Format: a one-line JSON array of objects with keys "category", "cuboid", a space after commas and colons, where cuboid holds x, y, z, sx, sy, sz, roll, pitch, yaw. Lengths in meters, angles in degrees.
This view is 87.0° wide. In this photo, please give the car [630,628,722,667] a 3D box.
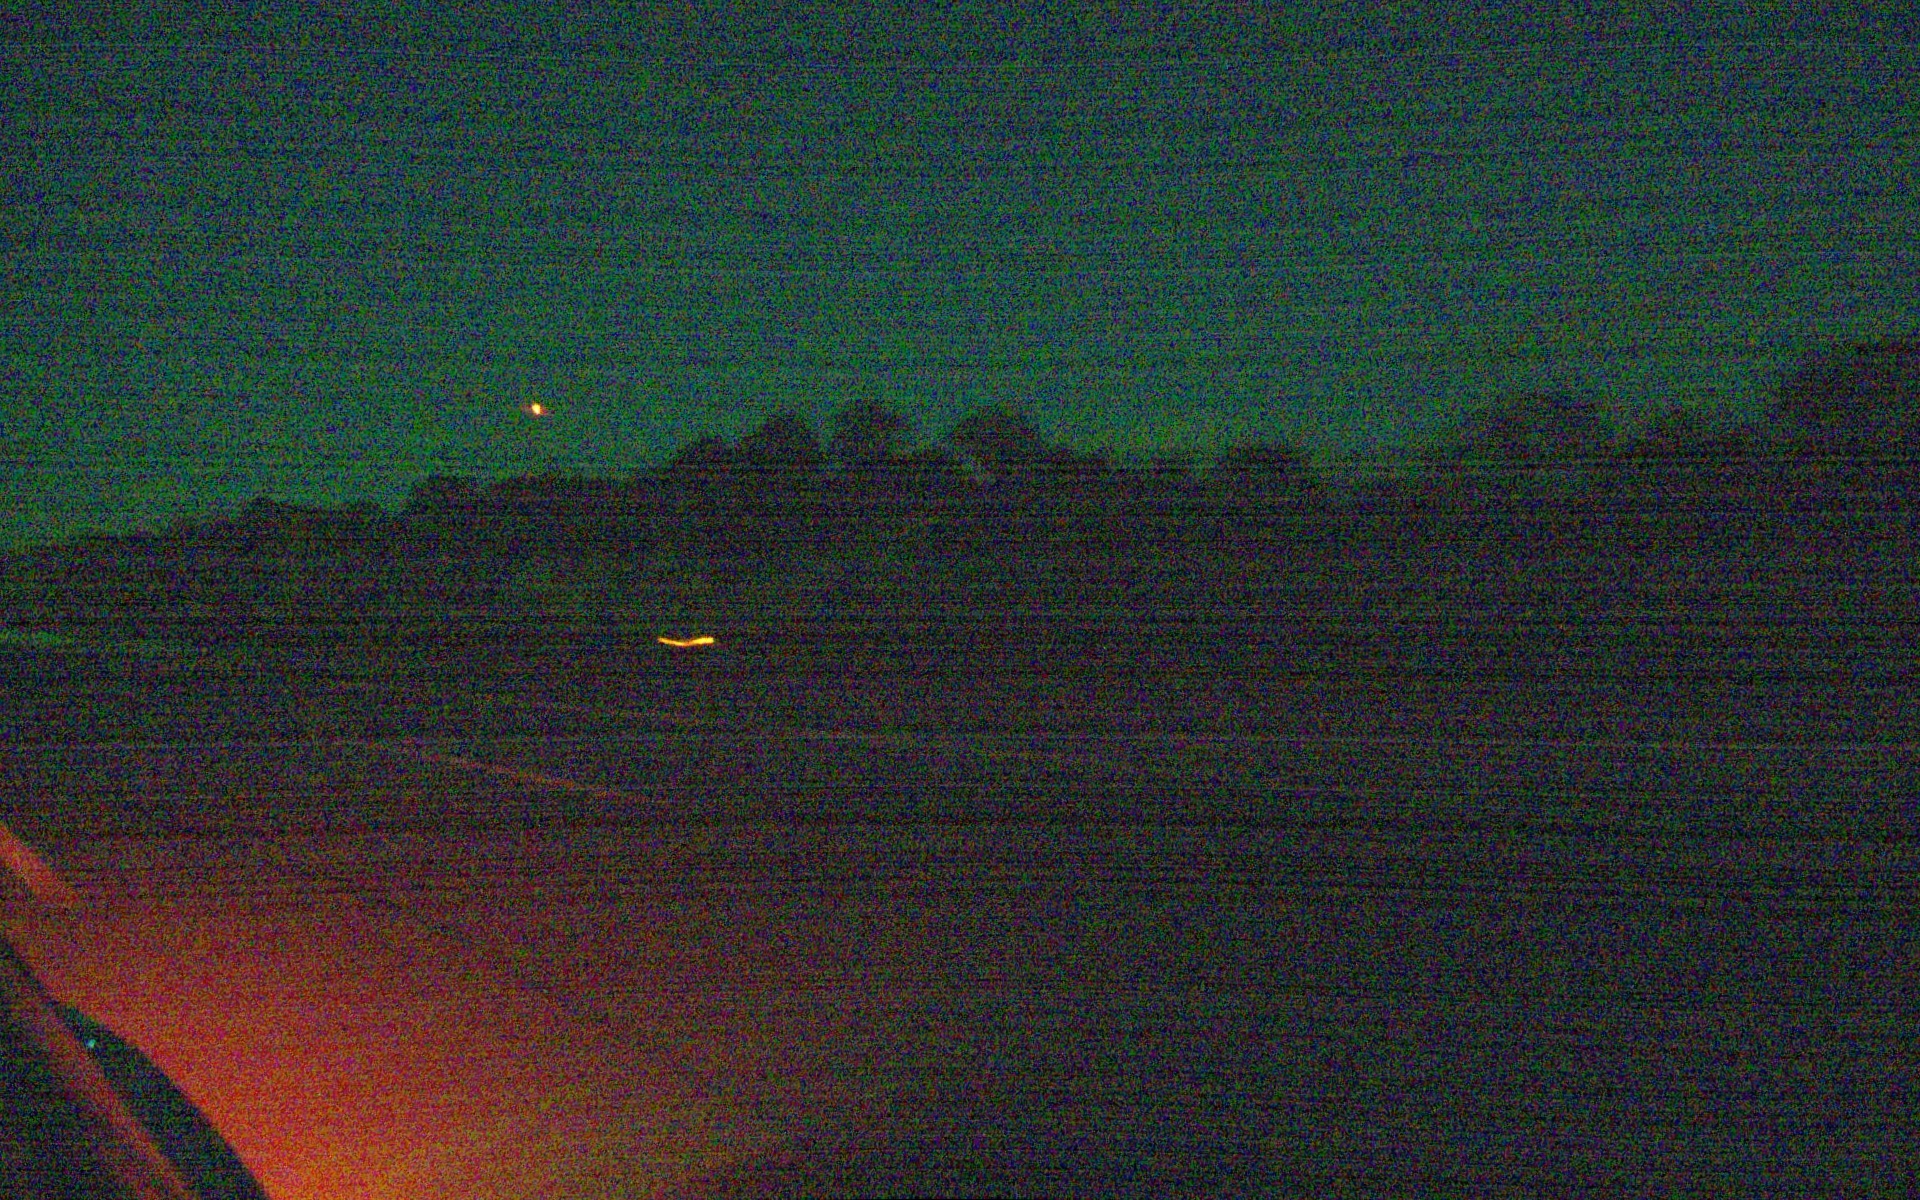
[{"category": "car", "cuboid": [-10.808, 1.758, 38.371, 3.790, 1.298, 1.541, 0, 0, 41]}]
